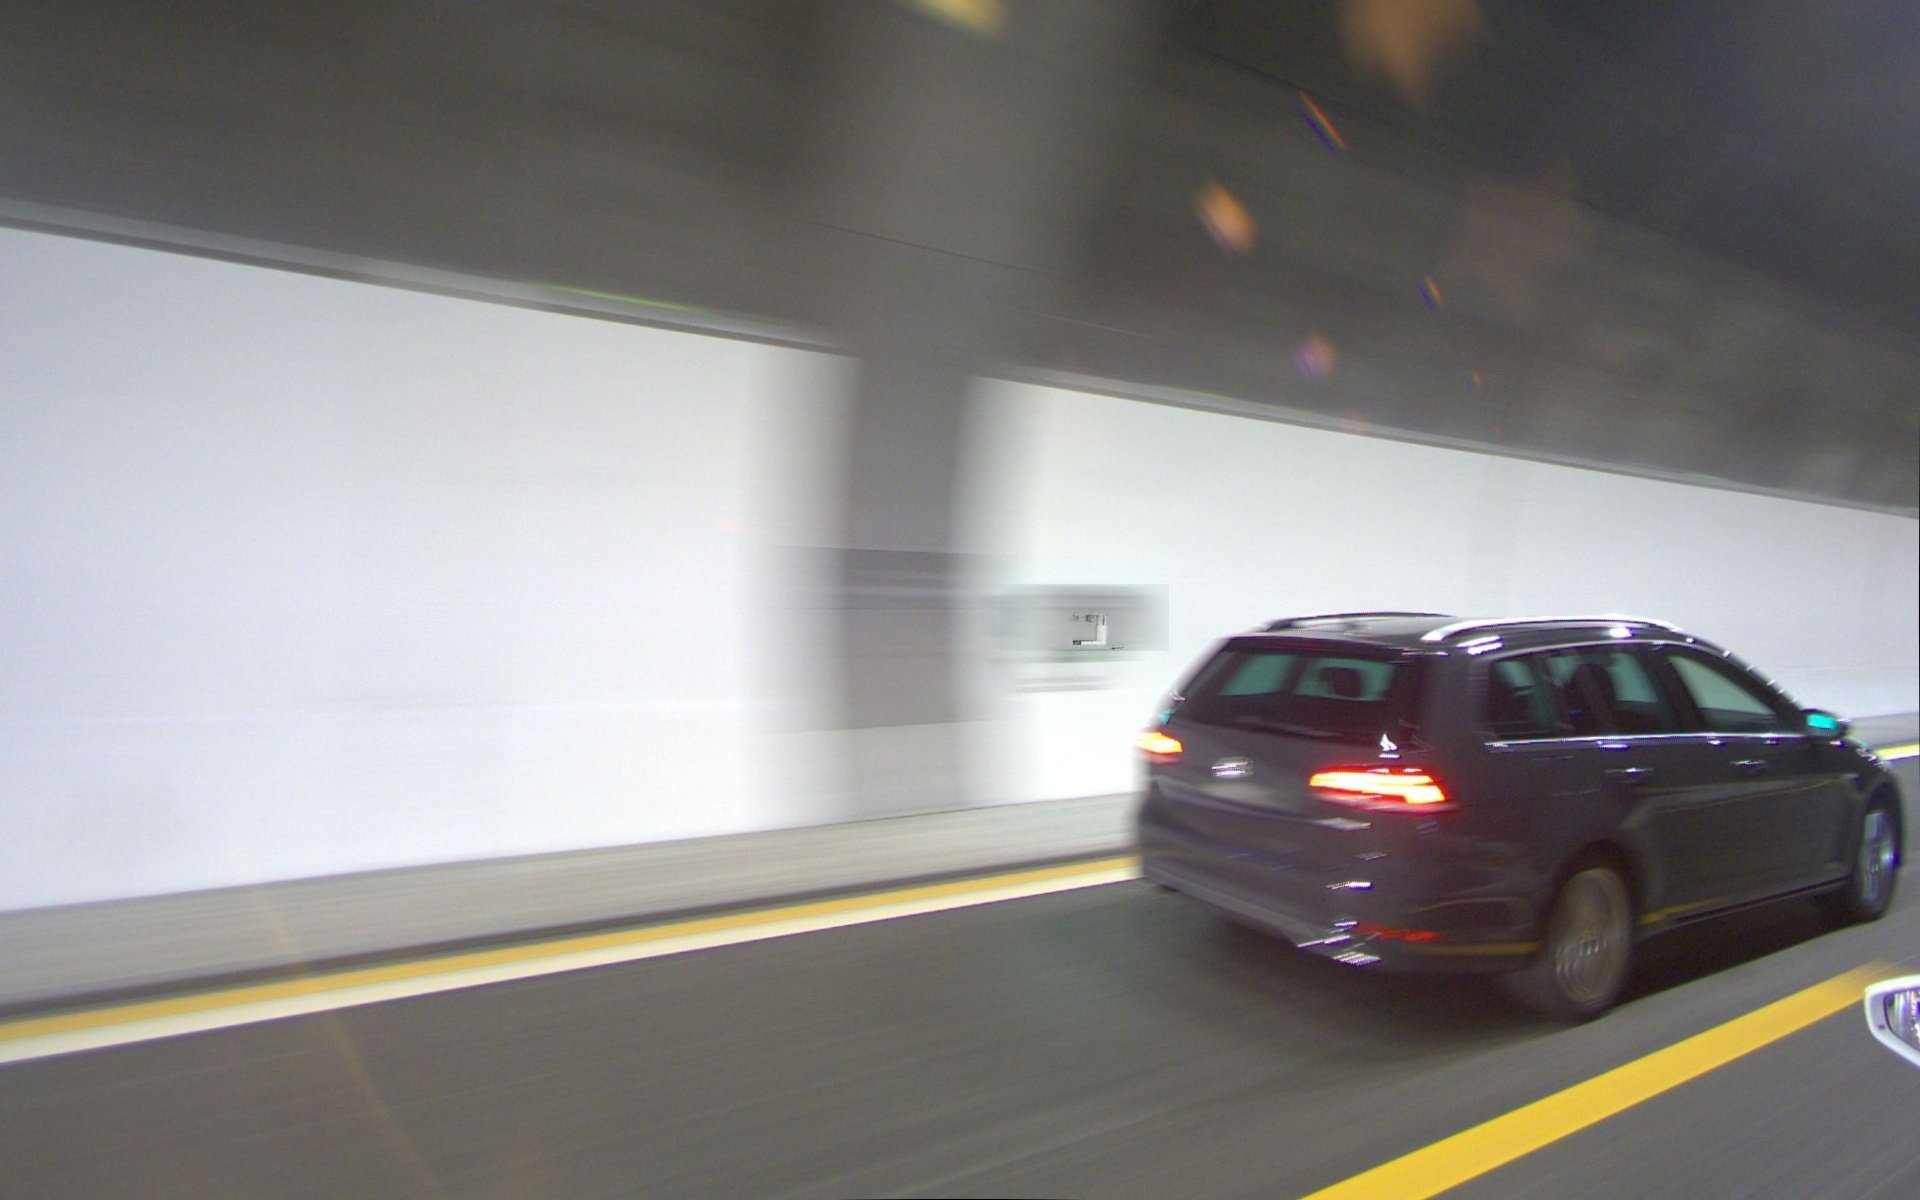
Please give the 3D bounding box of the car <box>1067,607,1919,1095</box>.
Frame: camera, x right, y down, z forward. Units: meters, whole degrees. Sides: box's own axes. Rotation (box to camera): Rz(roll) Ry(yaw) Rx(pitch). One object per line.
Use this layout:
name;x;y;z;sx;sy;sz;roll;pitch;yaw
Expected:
car;3.025;0.819;5.023;4.824;1.457;1.770;1;0;-29
